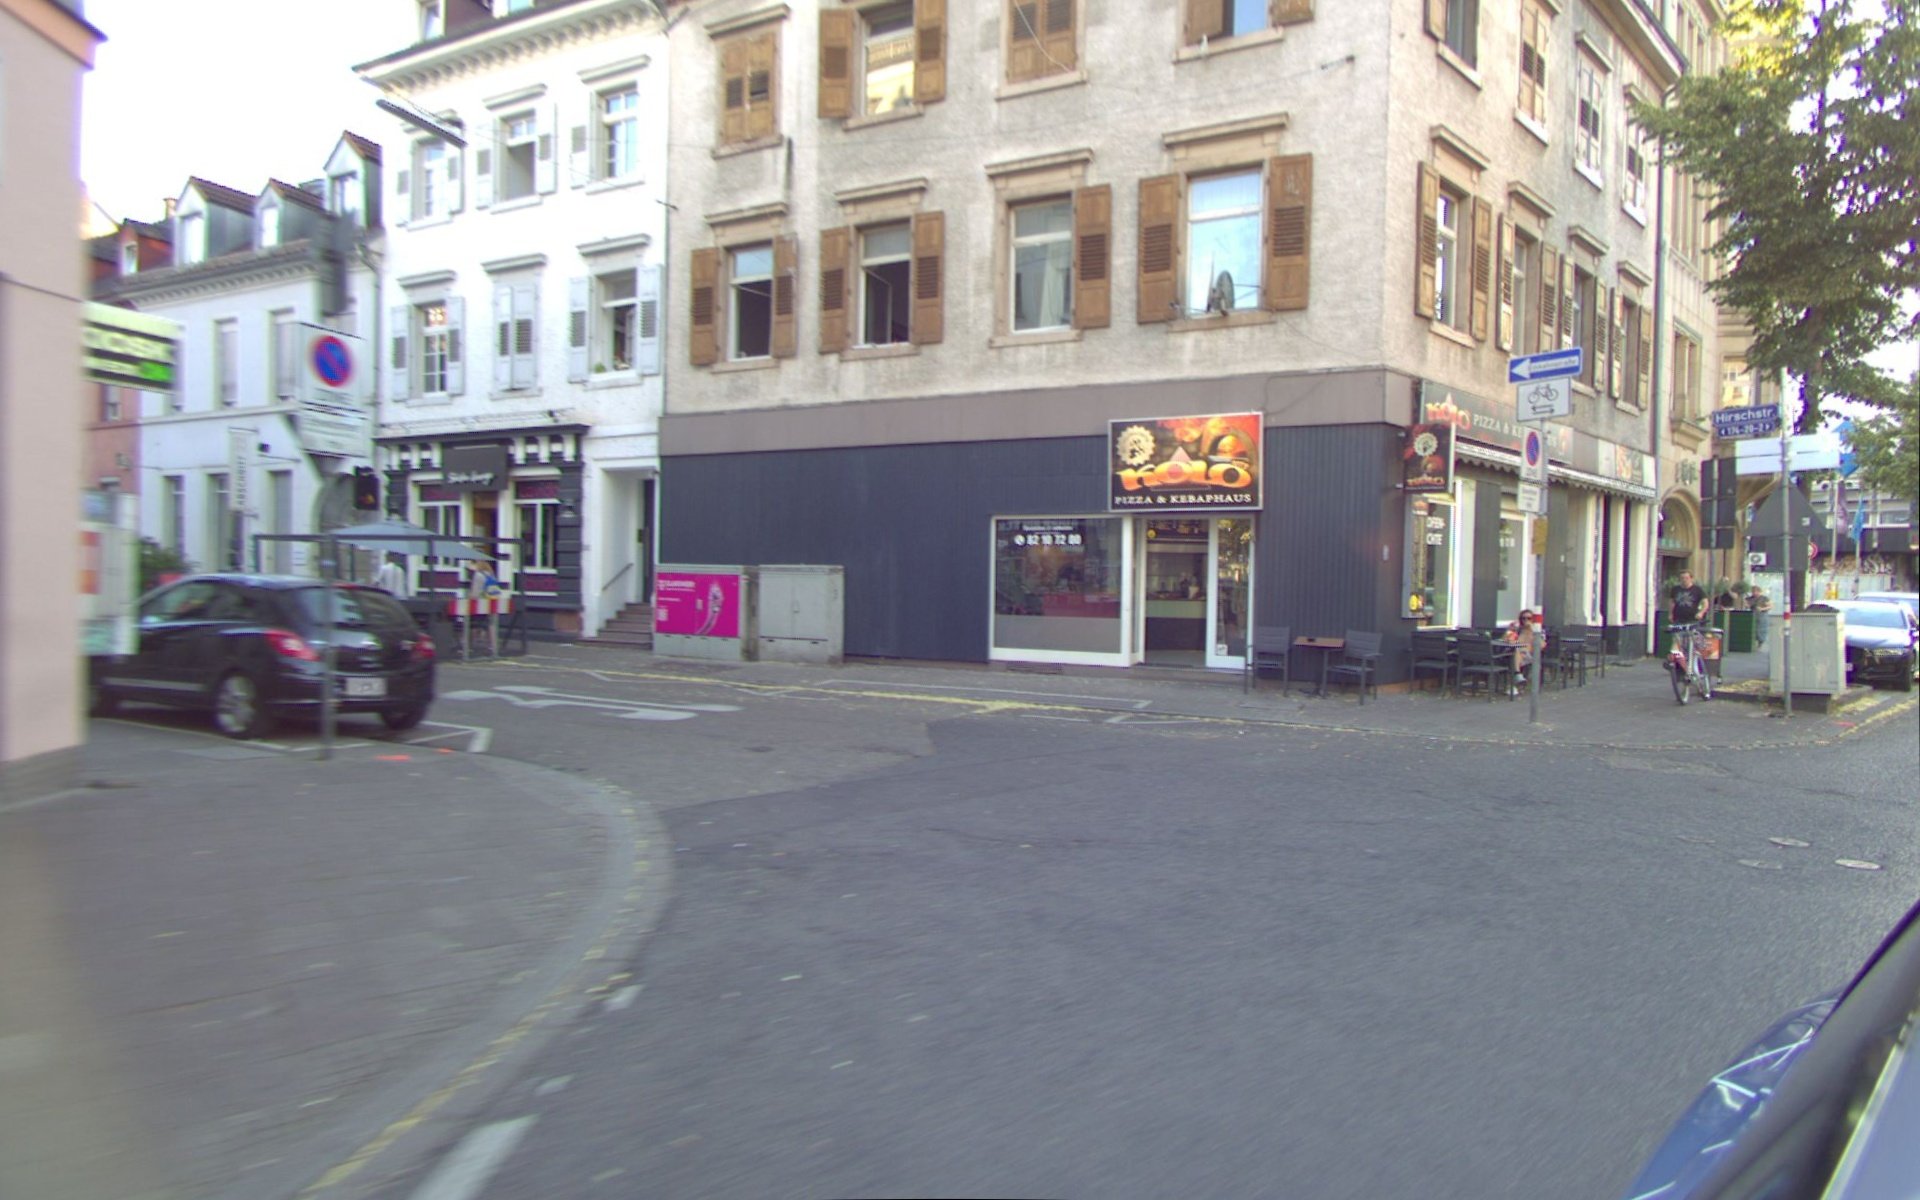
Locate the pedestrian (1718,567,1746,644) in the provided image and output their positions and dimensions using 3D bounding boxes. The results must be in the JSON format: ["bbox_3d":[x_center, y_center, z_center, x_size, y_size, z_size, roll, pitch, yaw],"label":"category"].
[{"bbox_3d":[19.204,0.133,25.186,0.458,1.898,0.495,2,1,34],"label":"pedestrian"}]

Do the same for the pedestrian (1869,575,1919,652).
[{"bbox_3d":[21.768,0.298,23.467,0.642,1.720,0.667,3,3,5],"label":"pedestrian"}]

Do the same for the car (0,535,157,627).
[{"bbox_3d":[-20.812,-0.479,23.579,4.006,1.989,1.773,1,1,26],"label":"car"}]

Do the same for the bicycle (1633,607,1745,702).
[{"bbox_3d":[9.856,0.693,13.655,1.866,1.125,0.780,-1,3,-41],"label":"bicycle"}]

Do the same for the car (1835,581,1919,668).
[{"bbox_3d":[19.532,0.470,20.795,3.942,1.594,1.691,0,4,-41],"label":"car"}]

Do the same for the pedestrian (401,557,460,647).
[{"bbox_3d":[-9.646,0.023,18.439,0.825,1.592,0.799,0,1,-38],"label":"pedestrian"}]

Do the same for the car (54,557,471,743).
[{"bbox_3d":[-6.797,0.390,9.864,3.638,1.508,1.773,1,-1,26],"label":"car"}]

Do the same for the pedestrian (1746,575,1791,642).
[{"bbox_3d":[19.706,0.194,24.668,0.689,1.581,0.660,0,4,-40],"label":"pedestrian"}]

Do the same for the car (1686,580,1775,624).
[{"bbox_3d":[29.390,0.021,38.552,4.823,1.448,1.738,-2,4,-41],"label":"car"}]

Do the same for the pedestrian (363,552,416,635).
[{"bbox_3d":[-11.675,-0.133,20.706,0.825,1.657,0.799,0,1,-38],"label":"pedestrian"}]

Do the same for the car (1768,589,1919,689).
[{"bbox_3d":[15.574,0.578,17.414,4.445,1.392,1.789,0,4,-41],"label":"car"}]

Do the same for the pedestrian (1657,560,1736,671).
[{"bbox_3d":[13.137,0.254,18.058,1.078,1.876,0.824,0,4,-42],"label":"pedestrian"}]

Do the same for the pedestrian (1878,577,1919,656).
[{"bbox_3d":[21.420,0.358,22.952,0.675,1.726,0.815,4,3,35],"label":"pedestrian"}]

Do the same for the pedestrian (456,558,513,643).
[{"bbox_3d":[-9.105,0.000,19.373,0.825,1.592,0.799,0,1,-38],"label":"pedestrian"}]

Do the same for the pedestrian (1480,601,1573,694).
[{"bbox_3d":[7.875,0.625,14.060,1.337,1.155,0.683,-2,4,-41],"label":"pedestrian"}]
